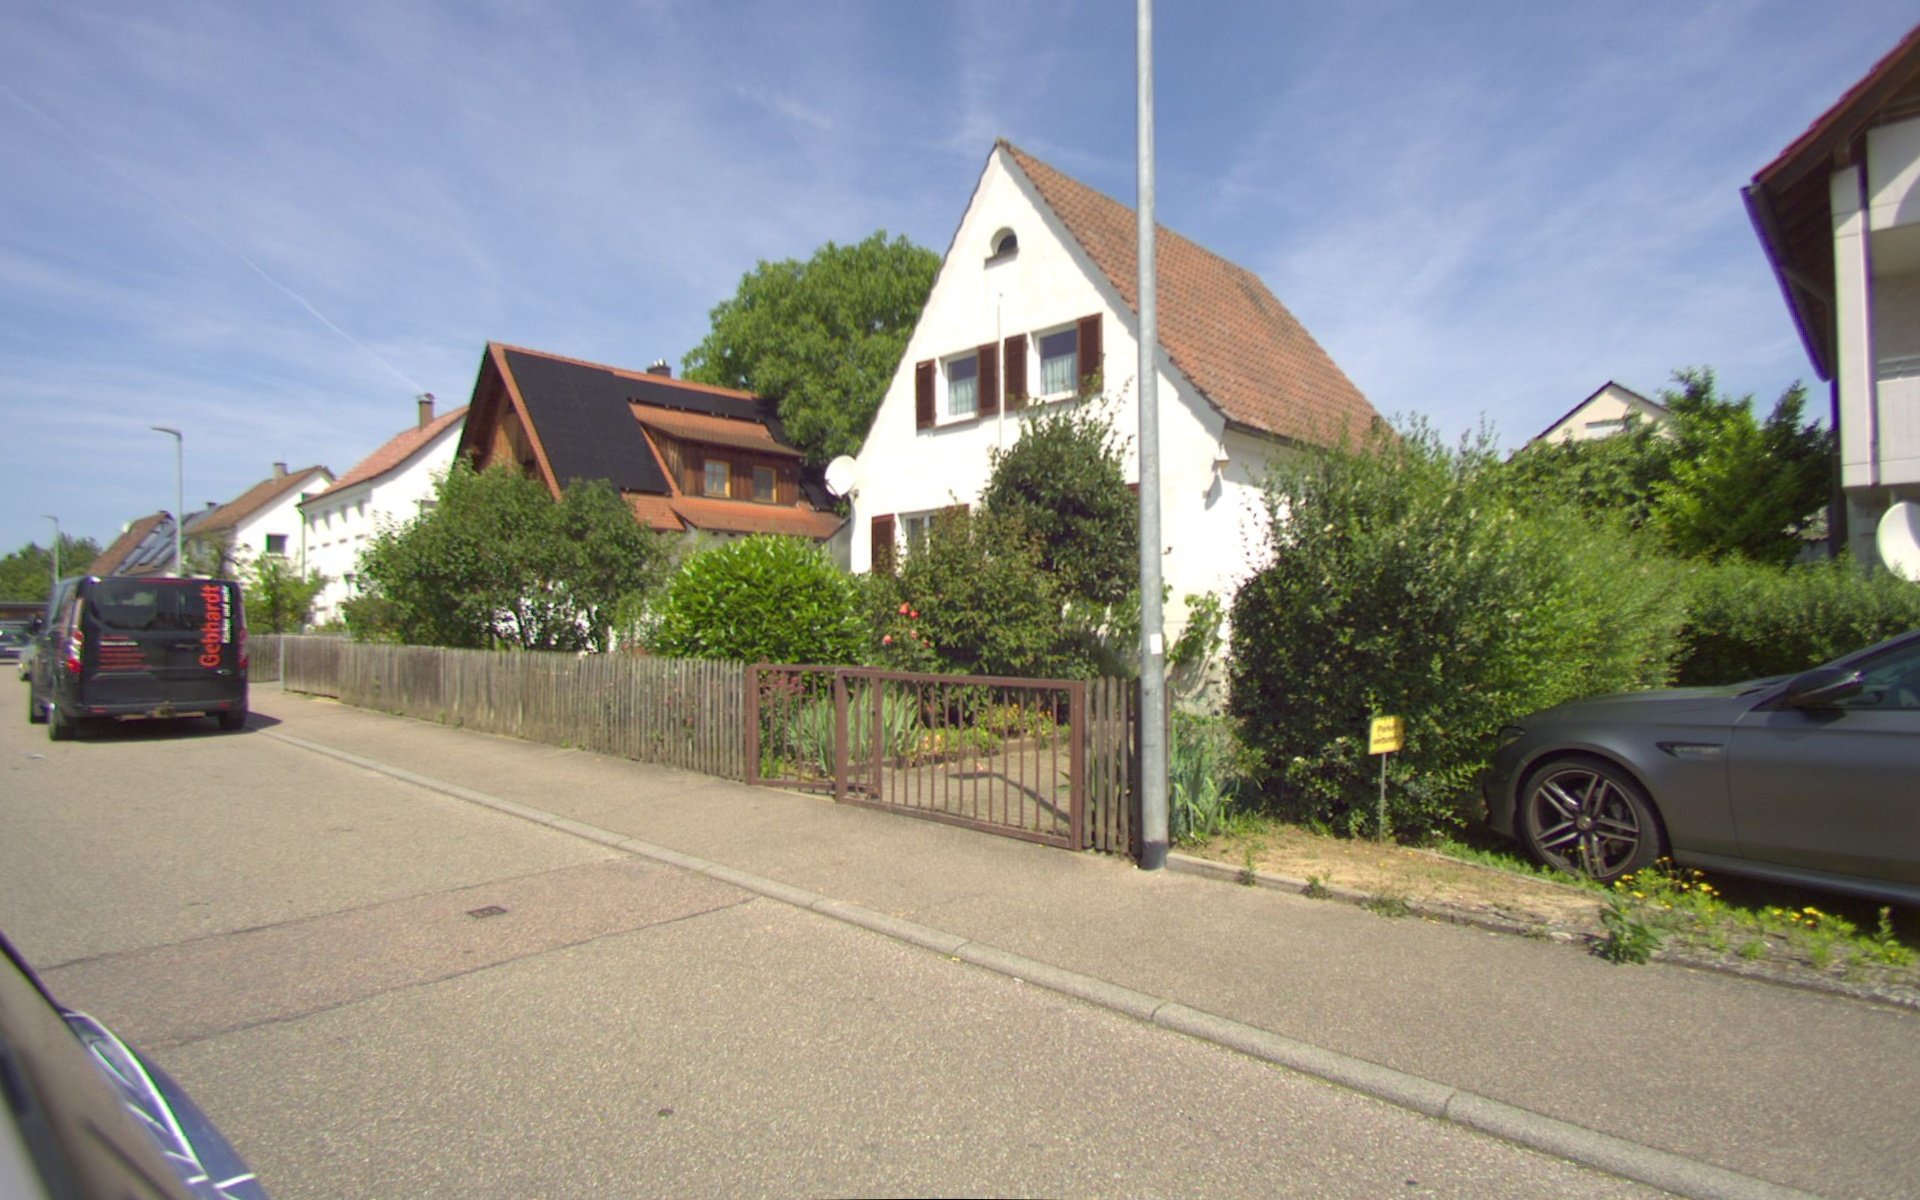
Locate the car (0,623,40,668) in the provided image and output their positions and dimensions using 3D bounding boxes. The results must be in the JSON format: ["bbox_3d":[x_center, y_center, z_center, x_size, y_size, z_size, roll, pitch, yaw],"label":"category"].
[{"bbox_3d":[-33.025,1.543,35.062,1.579,1.469,3.663,1,-2,-44],"label":"car"}]

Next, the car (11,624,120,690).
[{"bbox_3d":[-21.131,1.287,23.885,3.265,1.453,1.564,-1,-2,42],"label":"car"}]

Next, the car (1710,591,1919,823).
[{"bbox_3d":[7.268,0.682,6.407,1.665,1.513,3.663,0,-1,-26],"label":"car"}]

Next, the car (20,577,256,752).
[{"bbox_3d":[-11.239,0.766,13.703,4.697,1.966,1.946,-1,-1,44],"label":"car"}]

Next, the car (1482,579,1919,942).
[{"bbox_3d":[4.830,0.631,4.082,1.801,1.443,4.577,0,-1,-30],"label":"car"}]
